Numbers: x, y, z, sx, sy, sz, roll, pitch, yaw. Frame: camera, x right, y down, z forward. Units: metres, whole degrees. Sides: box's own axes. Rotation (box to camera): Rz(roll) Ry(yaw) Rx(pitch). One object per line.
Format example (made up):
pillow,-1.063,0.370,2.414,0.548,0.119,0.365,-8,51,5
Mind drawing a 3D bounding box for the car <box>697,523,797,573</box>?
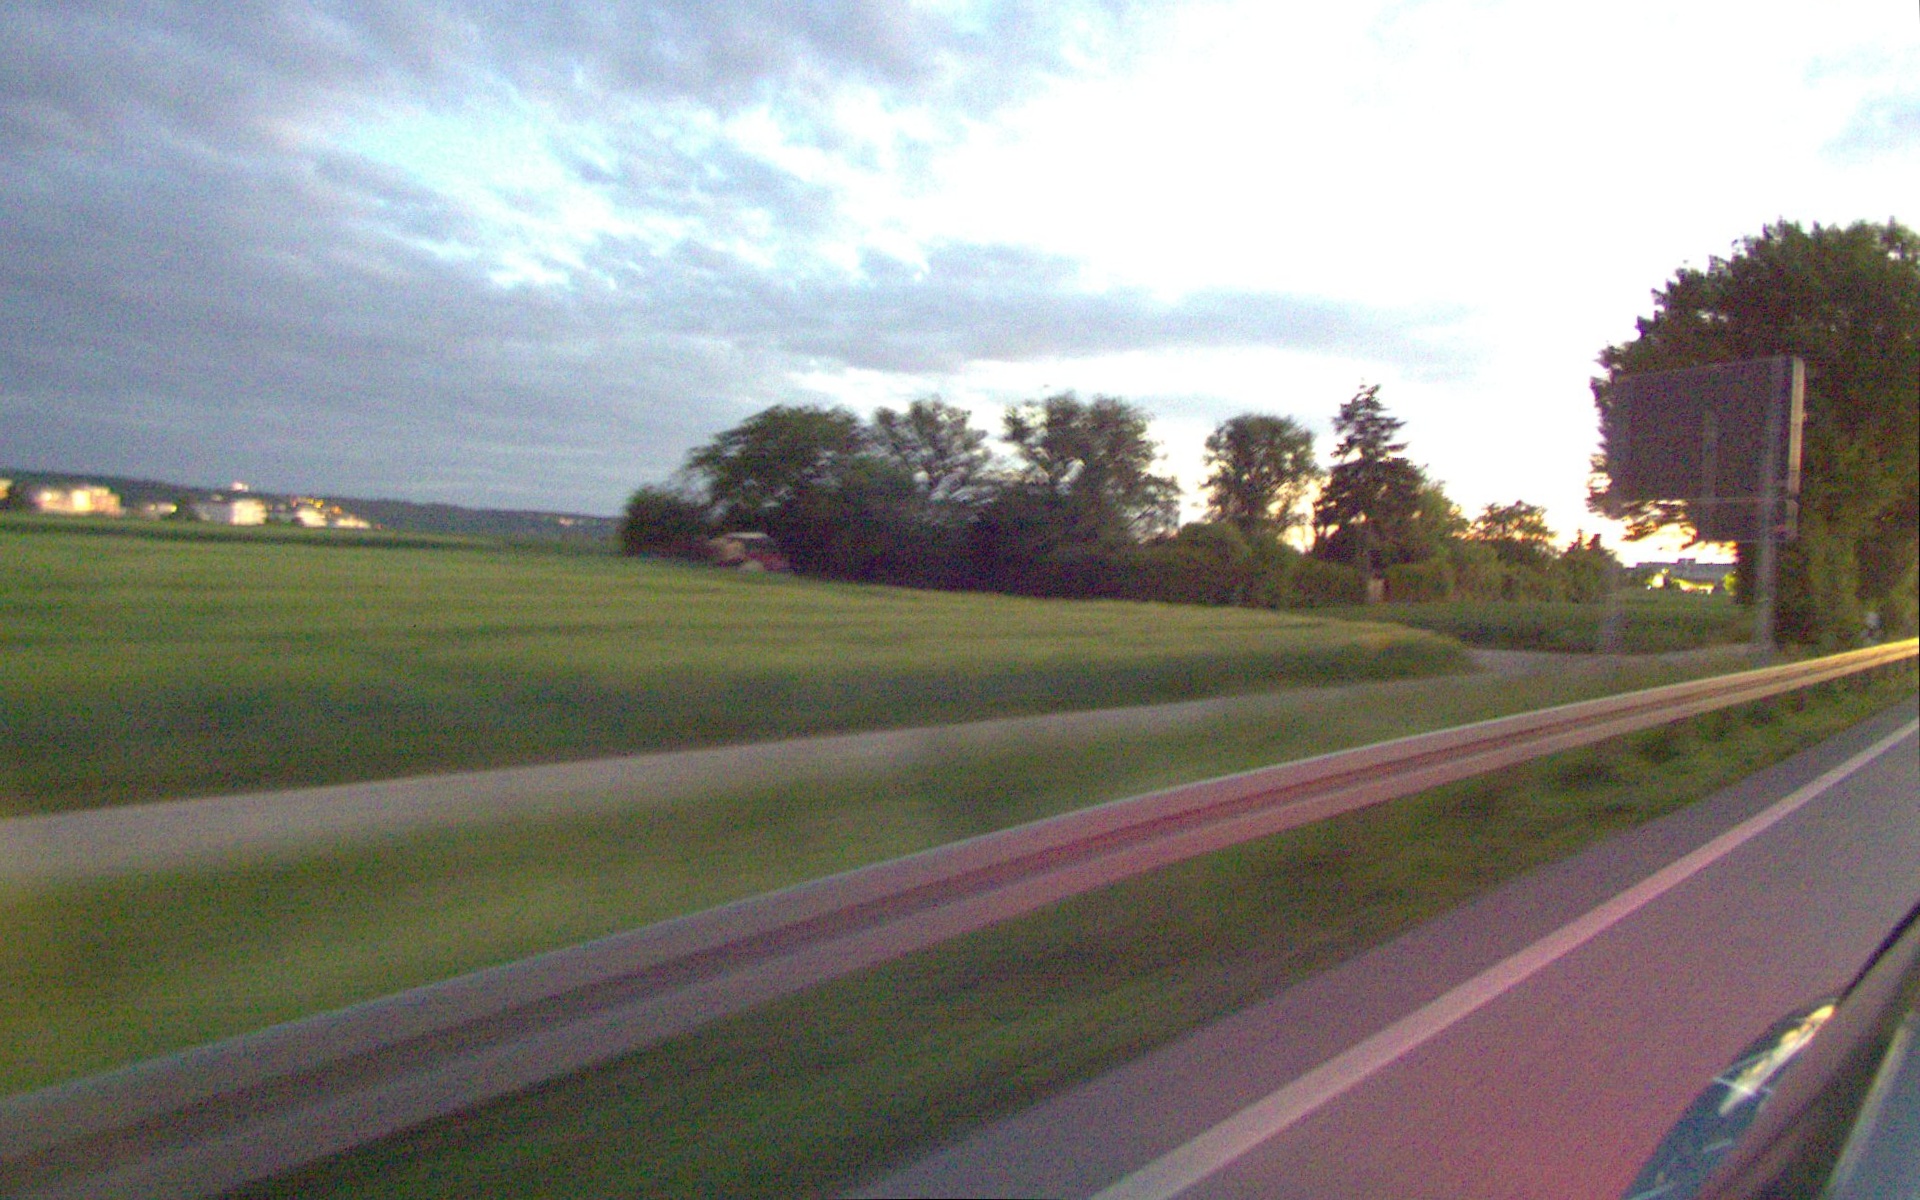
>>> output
car,-10.195,-2.474,48.740,1.989,2.178,4.519,4,3,36
